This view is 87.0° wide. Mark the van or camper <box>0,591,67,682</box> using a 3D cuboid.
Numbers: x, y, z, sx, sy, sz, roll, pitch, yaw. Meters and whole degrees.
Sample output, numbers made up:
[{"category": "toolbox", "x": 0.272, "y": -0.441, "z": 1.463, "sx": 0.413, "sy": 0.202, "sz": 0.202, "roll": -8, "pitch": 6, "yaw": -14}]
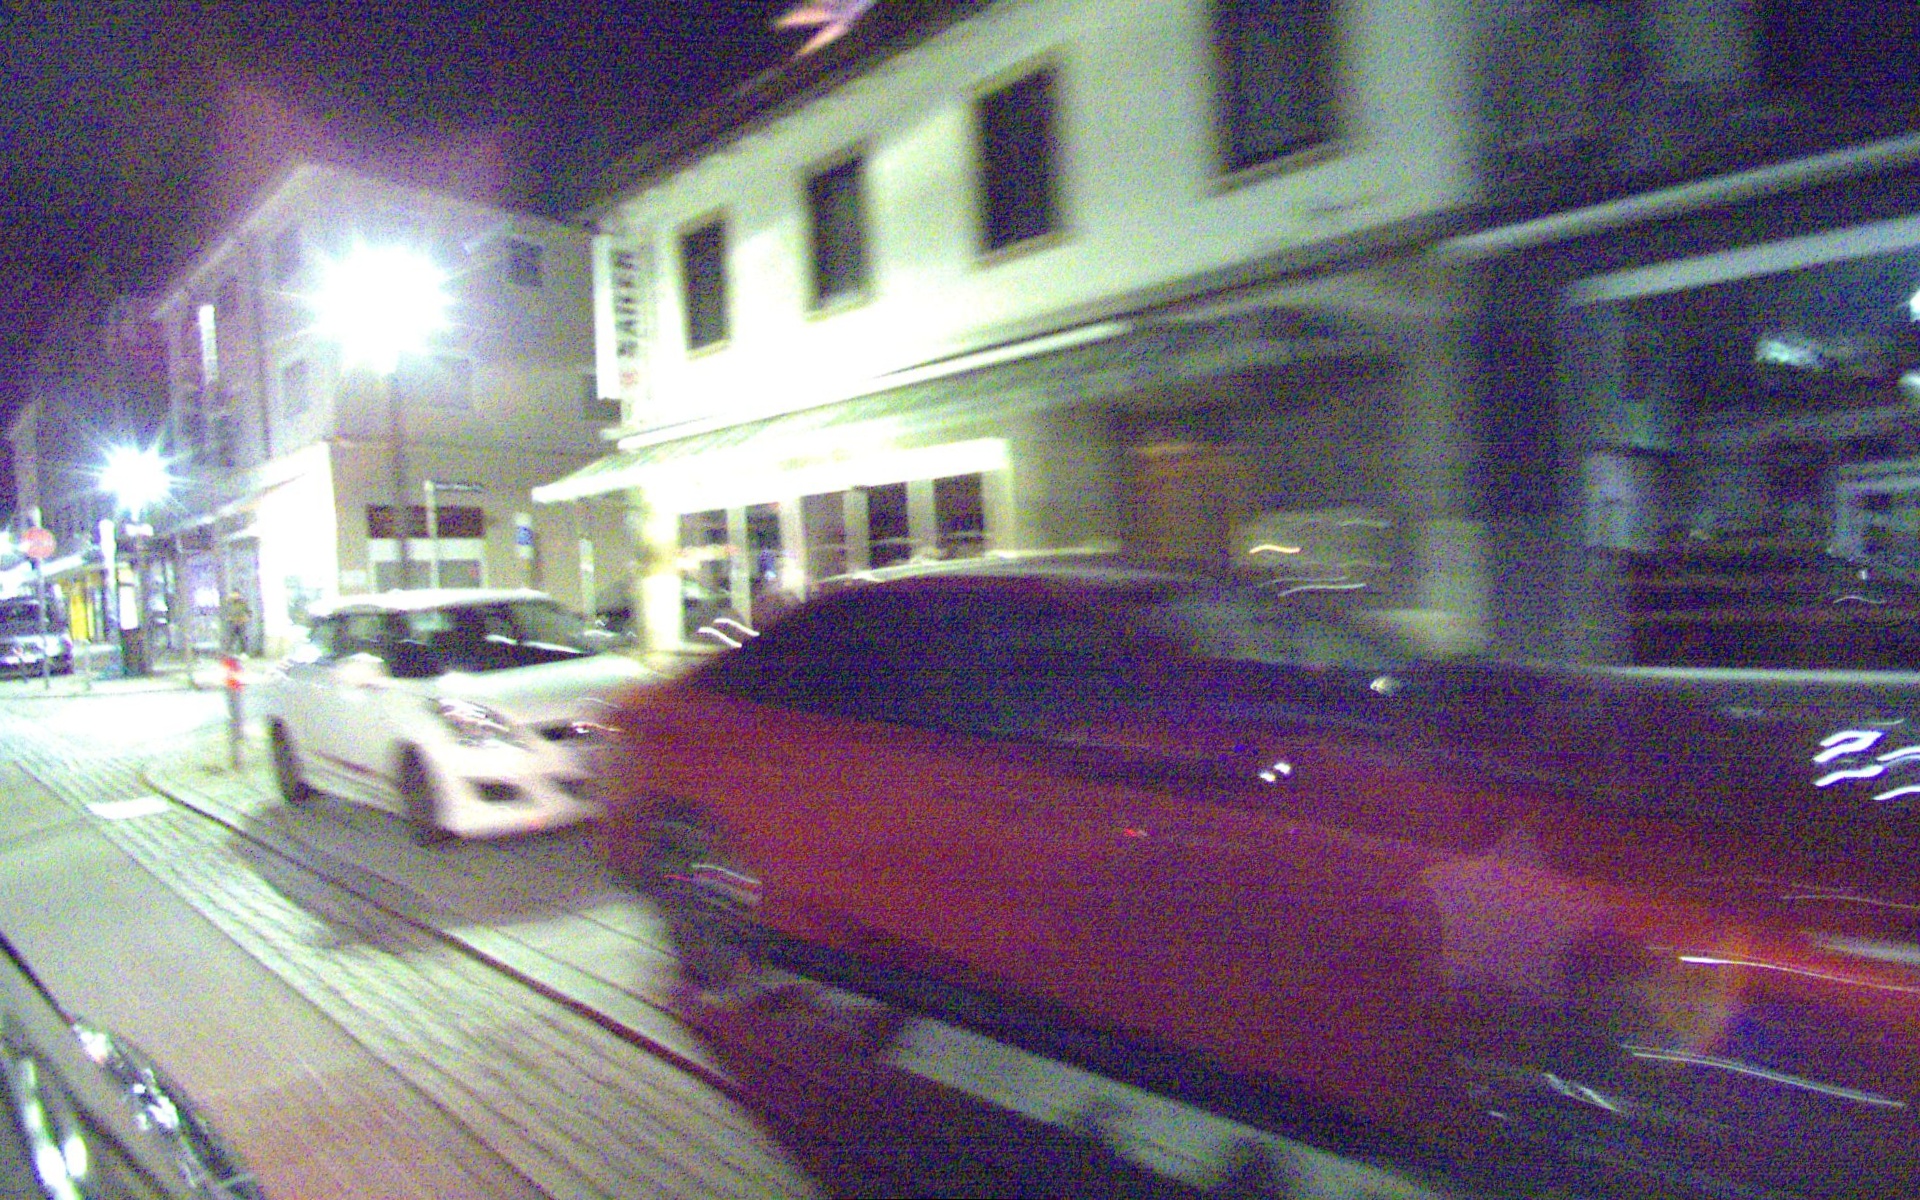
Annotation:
[{"category": "van or camper", "x": -23.039, "y": 0.868, "z": 24.567, "sx": 1.824, "sy": 1.956, "sz": 5.158, "roll": -4, "pitch": 2, "yaw": -43}]

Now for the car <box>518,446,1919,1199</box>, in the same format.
[{"category": "car", "x": 0.738, "y": 0.481, "z": 3.368, "sx": 5.004, "sy": 1.498, "sz": 1.999, "roll": -2, "pitch": 4, "yaw": 41}]

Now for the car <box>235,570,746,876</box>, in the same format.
[{"category": "car", "x": -3.397, "y": 0.646, "z": 7.004, "sx": 3.844, "sy": 1.487, "sz": 1.711, "roll": -2, "pitch": 2, "yaw": 41}]

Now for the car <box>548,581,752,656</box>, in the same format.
[{"category": "car", "x": -7.441, "y": 0.406, "z": 24.649, "sx": 1.779, "sy": 1.411, "sz": 4.396, "roll": -5, "pitch": 0, "yaw": 41}]

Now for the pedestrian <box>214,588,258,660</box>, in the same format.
[{"category": "pedestrian", "x": -18.251, "y": 0.597, "z": 25.516, "sx": 1.022, "sy": 1.758, "sz": 0.614, "roll": -1, "pitch": 2, "yaw": 42}]

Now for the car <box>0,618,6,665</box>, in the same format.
[{"category": "car", "x": -31.790, "y": 1.373, "z": 32.196, "sx": 4.384, "sy": 1.423, "sz": 1.699, "roll": -1, "pitch": 3, "yaw": 42}]

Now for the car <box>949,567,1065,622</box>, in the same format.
[{"category": "car", "x": 1.689, "y": -0.210, "z": 35.347, "sx": 1.998, "sy": 1.660, "sz": 3.947, "roll": -5, "pitch": -1, "yaw": 40}]
